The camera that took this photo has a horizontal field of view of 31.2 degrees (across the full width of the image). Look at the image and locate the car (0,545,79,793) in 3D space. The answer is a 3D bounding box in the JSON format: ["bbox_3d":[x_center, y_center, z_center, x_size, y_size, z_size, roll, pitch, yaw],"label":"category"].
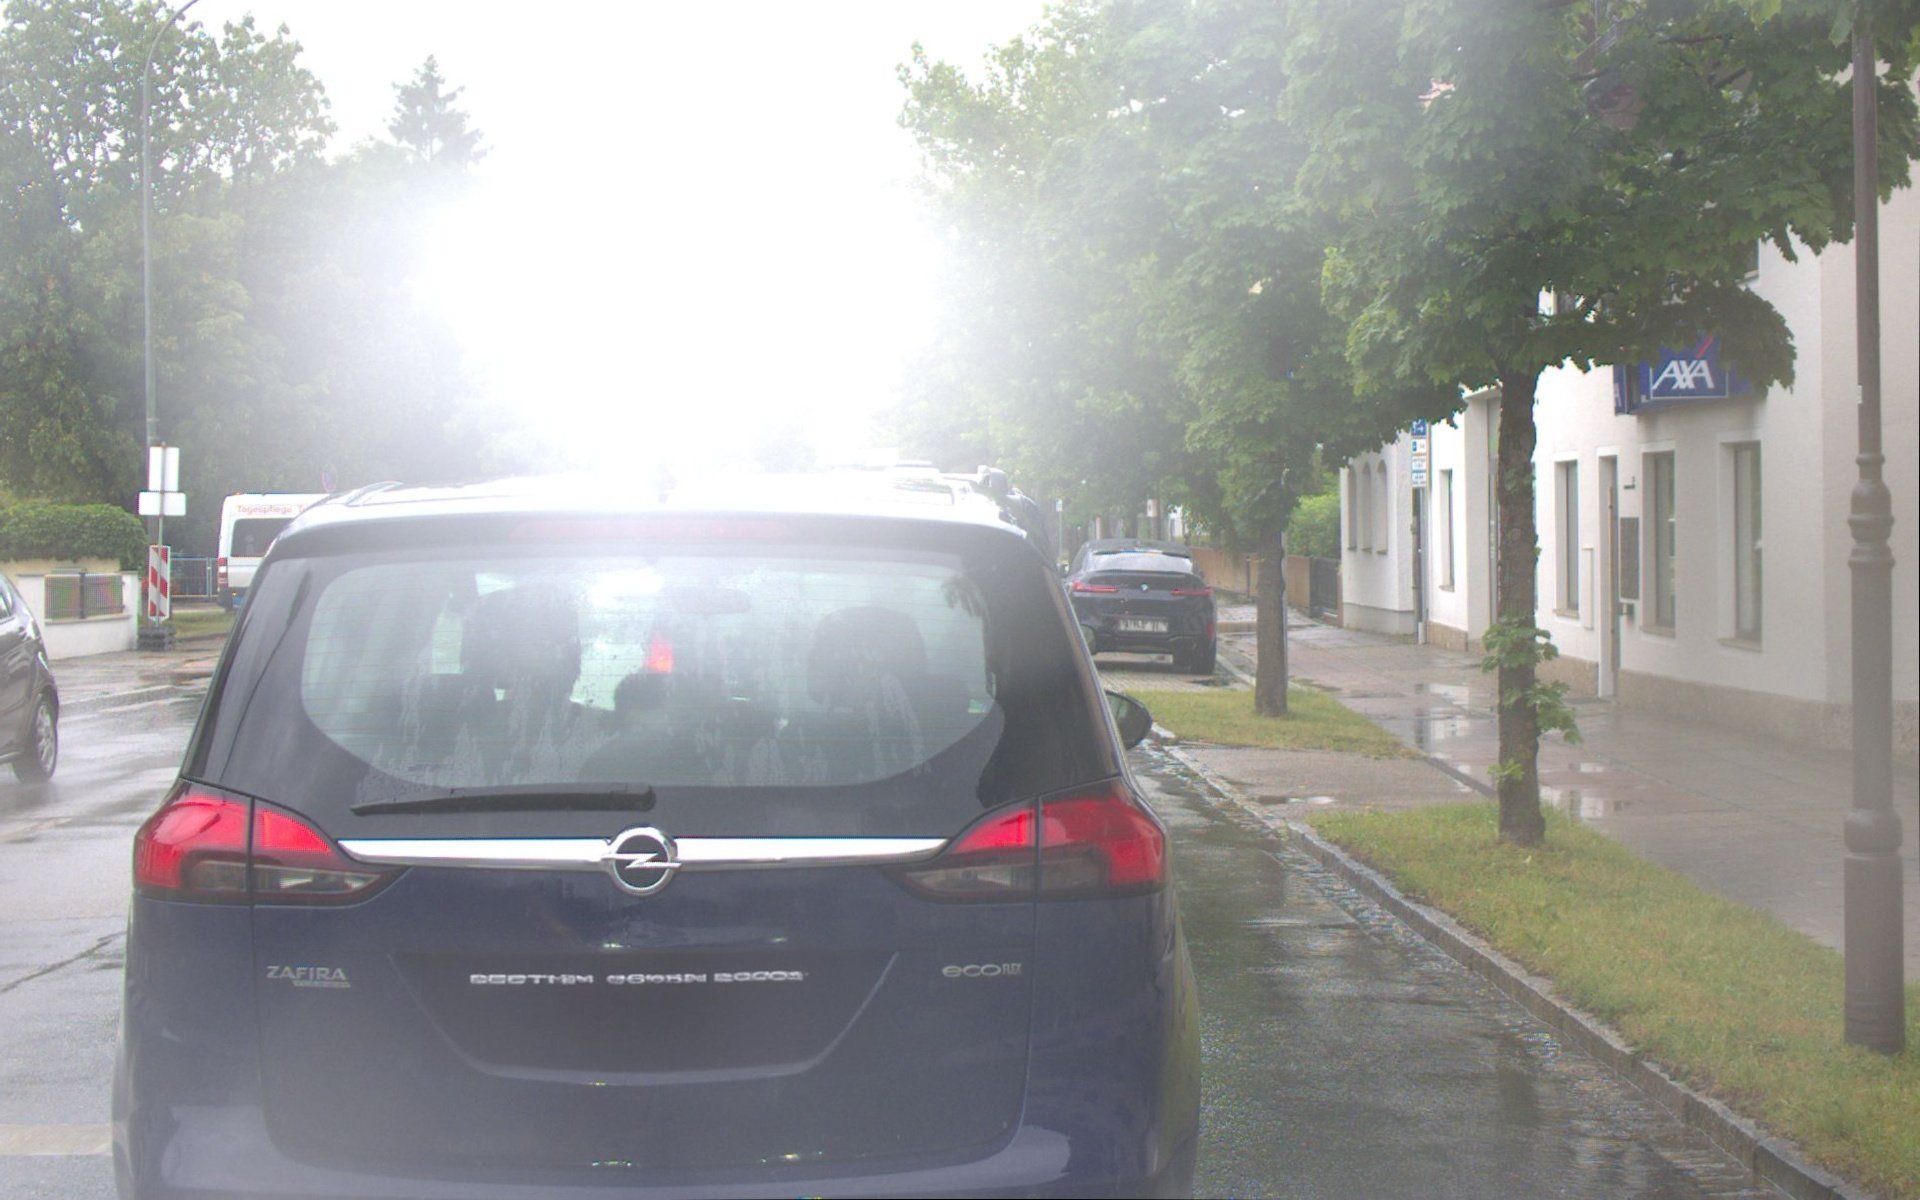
[{"bbox_3d":[-6.892,0.449,21.230,1.915,1.528,3.899,-1,1,-1],"label":"car"}]

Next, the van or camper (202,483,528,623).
[{"bbox_3d":[-11.833,-0.944,68.691,6.247,2.698,2.101,-1,1,-5],"label":"van or camper"}]

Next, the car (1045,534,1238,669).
[{"bbox_3d":[2.234,-0.006,43.363,2.117,1.576,3.936,1,1,-1],"label":"car"}]

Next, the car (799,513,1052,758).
[{"bbox_3d":[-0.262,0.219,25.905,1.756,1.700,3.619,-1,1,-1],"label":"car"}]

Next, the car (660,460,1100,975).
[{"bbox_3d":[-0.296,0.383,13.533,1.500,1.770,3.112,1,1,-1],"label":"car"}]

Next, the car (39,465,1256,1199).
[{"bbox_3d":[-0.484,0.585,6.884,1.768,1.599,3.663,1,1,-1],"label":"car"}]

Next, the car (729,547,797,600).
[{"bbox_3d":[-5.946,-0.811,104.270,1.752,1.506,4.230,-2,1,0],"label":"car"}]

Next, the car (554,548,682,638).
[{"bbox_3d":[-6.296,-0.161,63.671,1.967,1.557,4.152,-1,1,-1],"label":"car"}]

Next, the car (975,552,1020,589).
[{"bbox_3d":[1.419,-1.128,132.231,1.630,1.373,3.623,1,0,-1],"label":"car"}]

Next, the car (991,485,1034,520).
[{"bbox_3d":[2.130,-4.003,141.399,1.630,1.373,3.623,-1,1,-1],"label":"car"}]

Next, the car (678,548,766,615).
[{"bbox_3d":[-5.801,-0.477,84.298,1.926,1.561,4.126,-1,1,-1],"label":"car"}]

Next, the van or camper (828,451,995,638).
[{"bbox_3d":[-0.722,-0.839,51.937,2.360,2.656,5.372,-1,1,-1],"label":"van or camper"}]
